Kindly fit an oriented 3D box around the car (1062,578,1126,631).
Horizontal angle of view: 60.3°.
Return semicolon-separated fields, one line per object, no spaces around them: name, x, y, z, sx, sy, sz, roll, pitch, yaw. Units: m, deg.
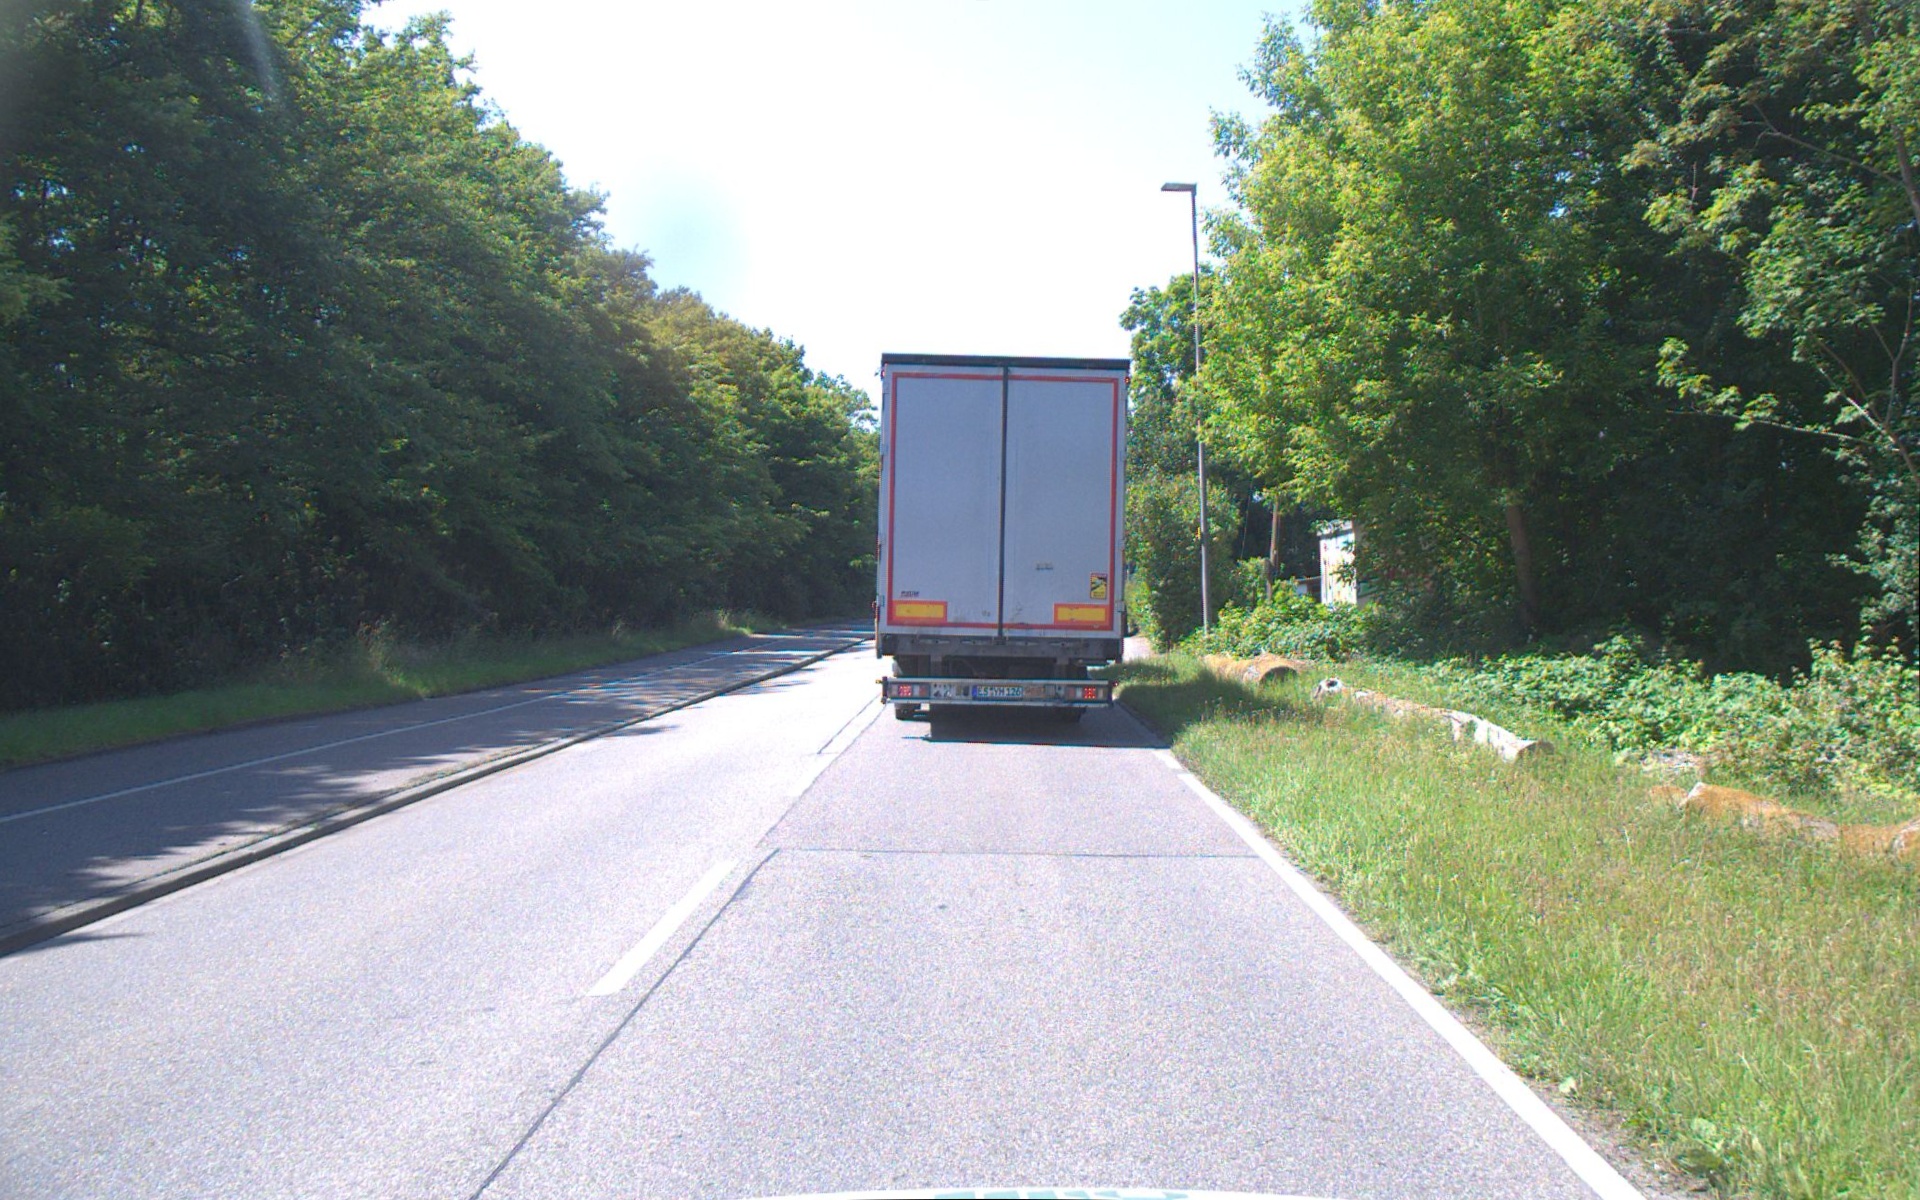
car;4.168;0.113;51.843;1.675;1.556;3.851;-1;0;0

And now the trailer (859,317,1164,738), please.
trailer;0.313;-0.745;21.231;3.015;4.141;9.804;0;0;-2

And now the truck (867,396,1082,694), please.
truck;0.052;-0.823;27.072;3.015;4.140;7.956;0;1;-2
